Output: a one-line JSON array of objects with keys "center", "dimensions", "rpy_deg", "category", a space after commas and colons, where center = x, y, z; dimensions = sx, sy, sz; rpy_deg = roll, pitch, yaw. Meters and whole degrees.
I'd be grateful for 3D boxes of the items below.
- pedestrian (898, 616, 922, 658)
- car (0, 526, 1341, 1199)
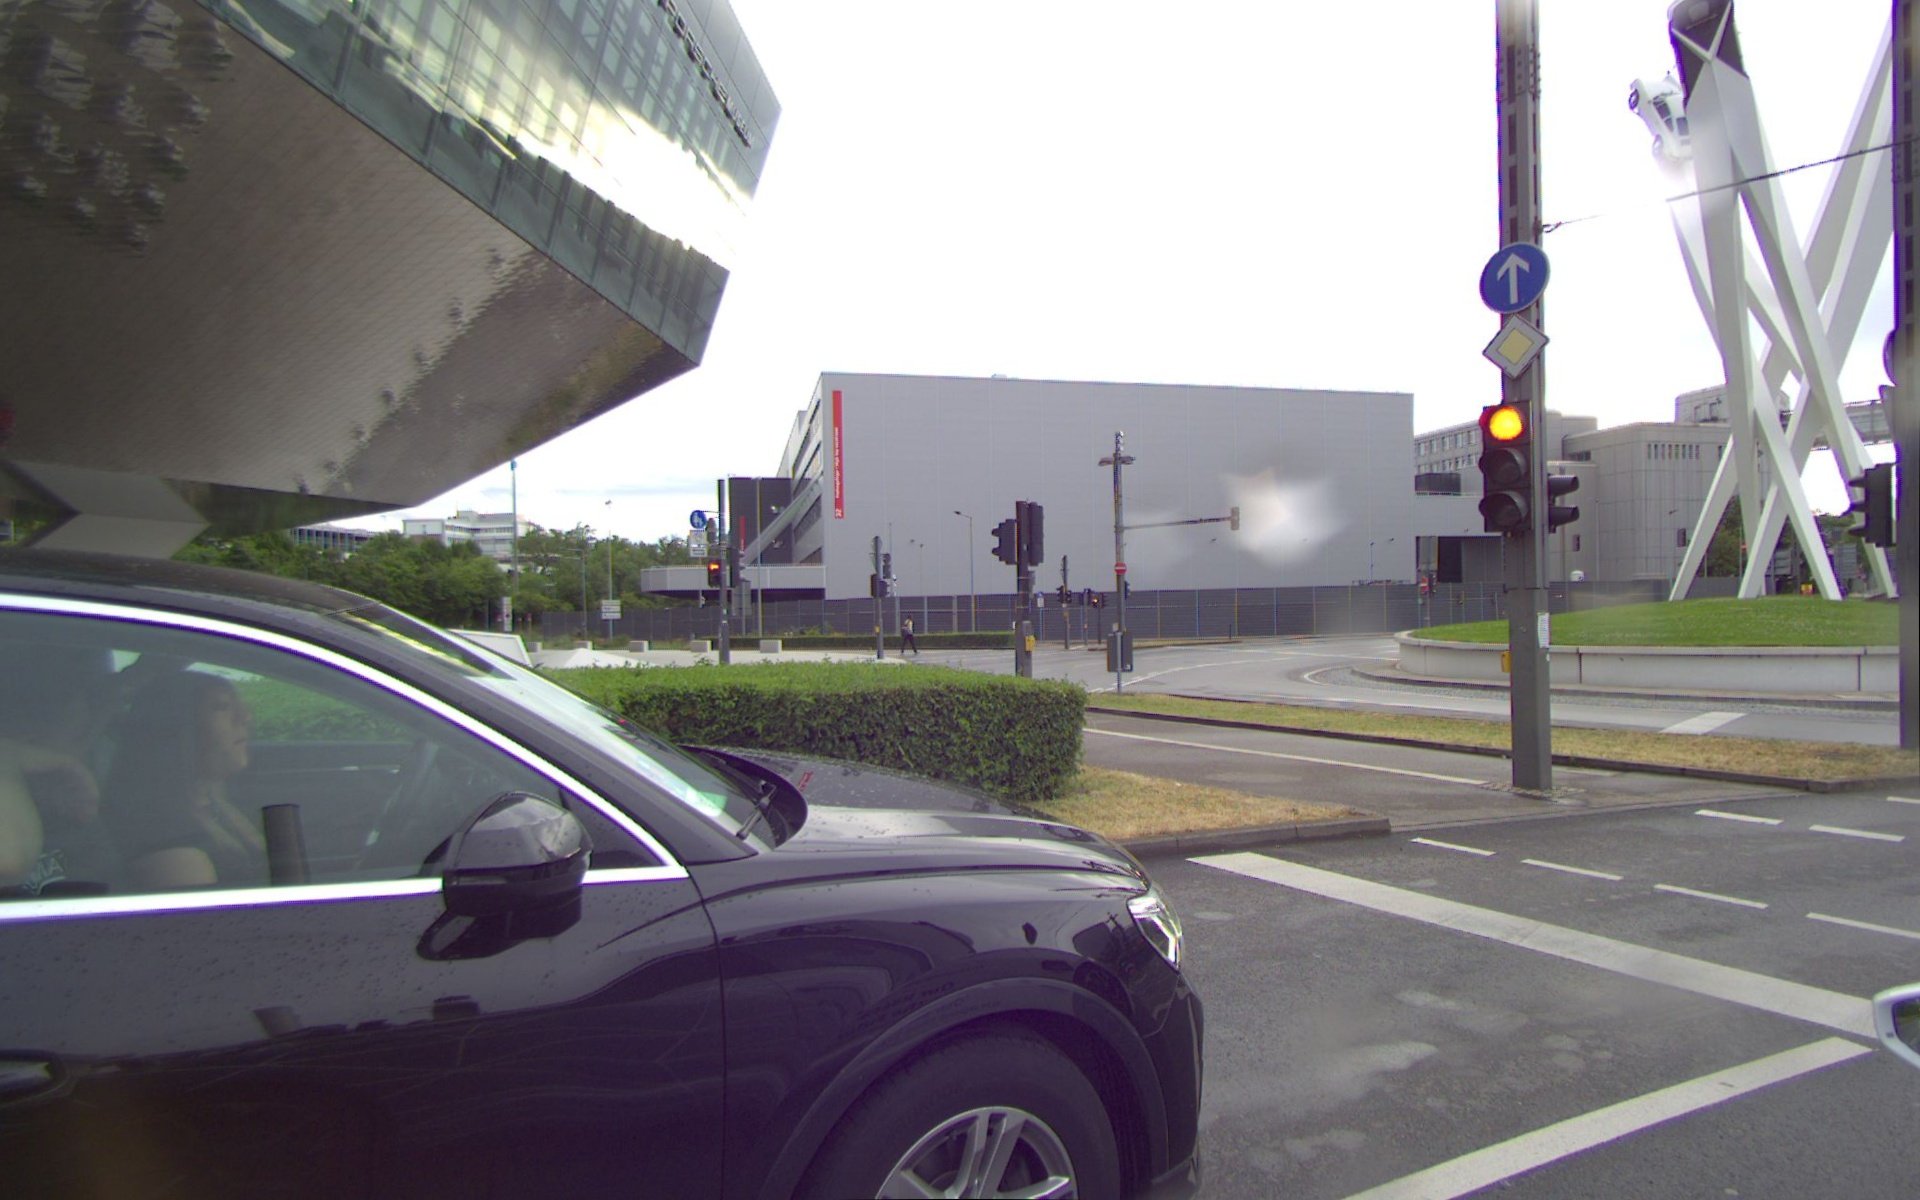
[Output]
[{"center": [-2.209, 1.615, 44.364], "dimensions": [0.638, 1.827, 0.851], "rpy_deg": [0, 0, 35], "category": "pedestrian"}, {"center": [-1.494, 0.685, 1.790], "dimensions": [4.344, 1.538, 1.743], "rpy_deg": [2, 0, -31], "category": "car"}]
